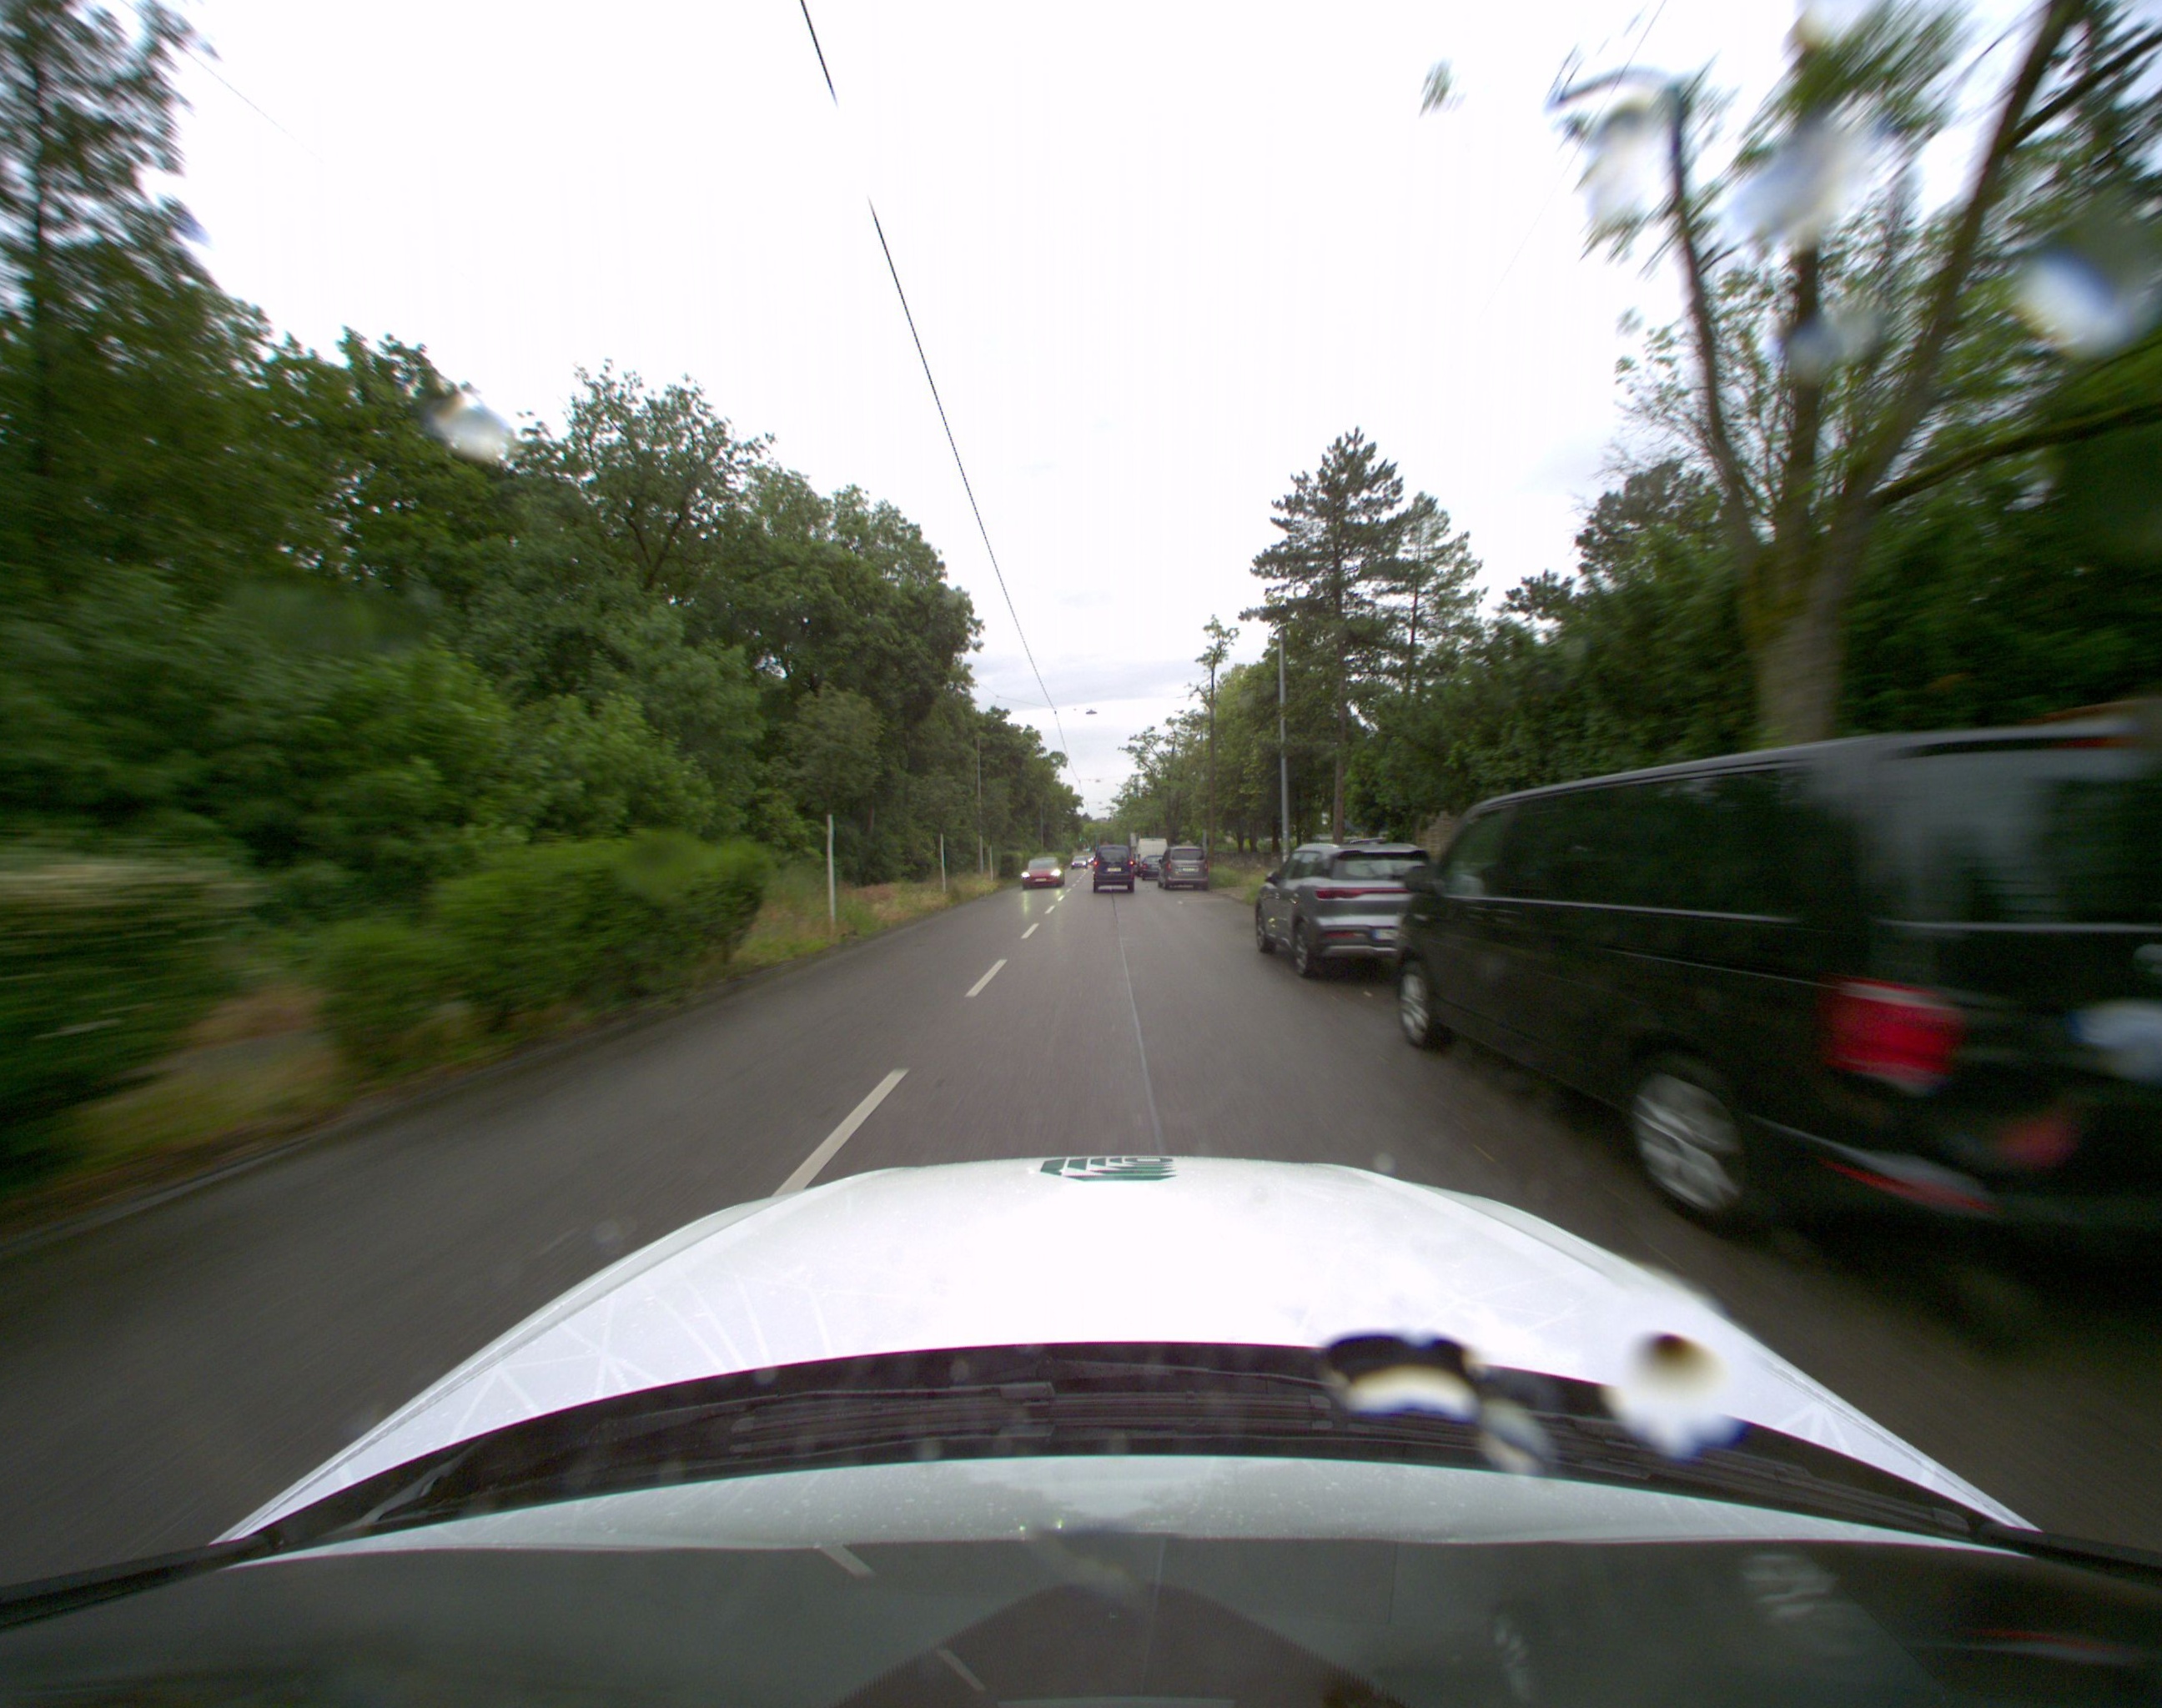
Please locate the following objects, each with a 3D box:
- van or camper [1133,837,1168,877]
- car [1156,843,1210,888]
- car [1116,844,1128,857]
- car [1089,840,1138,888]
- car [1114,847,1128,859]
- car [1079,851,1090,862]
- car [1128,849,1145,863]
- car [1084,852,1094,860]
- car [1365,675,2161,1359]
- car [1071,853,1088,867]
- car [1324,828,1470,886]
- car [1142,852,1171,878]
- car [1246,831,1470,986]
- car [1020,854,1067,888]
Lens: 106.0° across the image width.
[{"bbox_3d":[4.678,0.152,55.639,2.071,2.650,5.348,0,1,1],"label":"van or camper"},{"bbox_3d":[4.307,0.456,35.055,1.809,1.813,4.282,0,1,0],"label":"car"},{"bbox_3d":[8.342,-0.747,165.865,2.197,2.449,4.731,-2,0,2],"label":"car"},{"bbox_3d":[1.244,0.373,32.839,1.762,1.830,3.540,0,1,-1],"label":"car"},{"bbox_3d":[5.032,-0.157,101.996,1.613,1.508,3.834,0,1,0],"label":"car"},{"bbox_3d":[0.557,0.398,131.233,1.723,1.492,4.001,-3,1,1],"label":"car"},{"bbox_3d":[5.983,0.171,88.410,1.714,1.505,4.052,0,1,2],"label":"car"},{"bbox_3d":[1.618,0.482,166.554,1.849,1.468,4.449,-4,1,2],"label":"car"},{"bbox_3d":[3.451,0.447,4.830,1.986,2.013,4.891,0,1,2],"label":"car"},{"bbox_3d":[-0.127,0.734,91.651,1.777,1.479,3.968,-2,-1,1],"label":"car"},{"bbox_3d":[11.049,0.109,28.734,4.293,1.682,2.001,-4,-1,2],"label":"car"},{"bbox_3d":[4.381,0.613,47.720,1.618,1.464,3.813,0,1,5],"label":"car"},{"bbox_3d":[3.530,0.578,11.260,1.767,1.723,4.329,0,1,2],"label":"car"},{"bbox_3d":[-1.766,0.773,39.589,1.853,1.480,4.158,-2,0,2],"label":"car"}]
